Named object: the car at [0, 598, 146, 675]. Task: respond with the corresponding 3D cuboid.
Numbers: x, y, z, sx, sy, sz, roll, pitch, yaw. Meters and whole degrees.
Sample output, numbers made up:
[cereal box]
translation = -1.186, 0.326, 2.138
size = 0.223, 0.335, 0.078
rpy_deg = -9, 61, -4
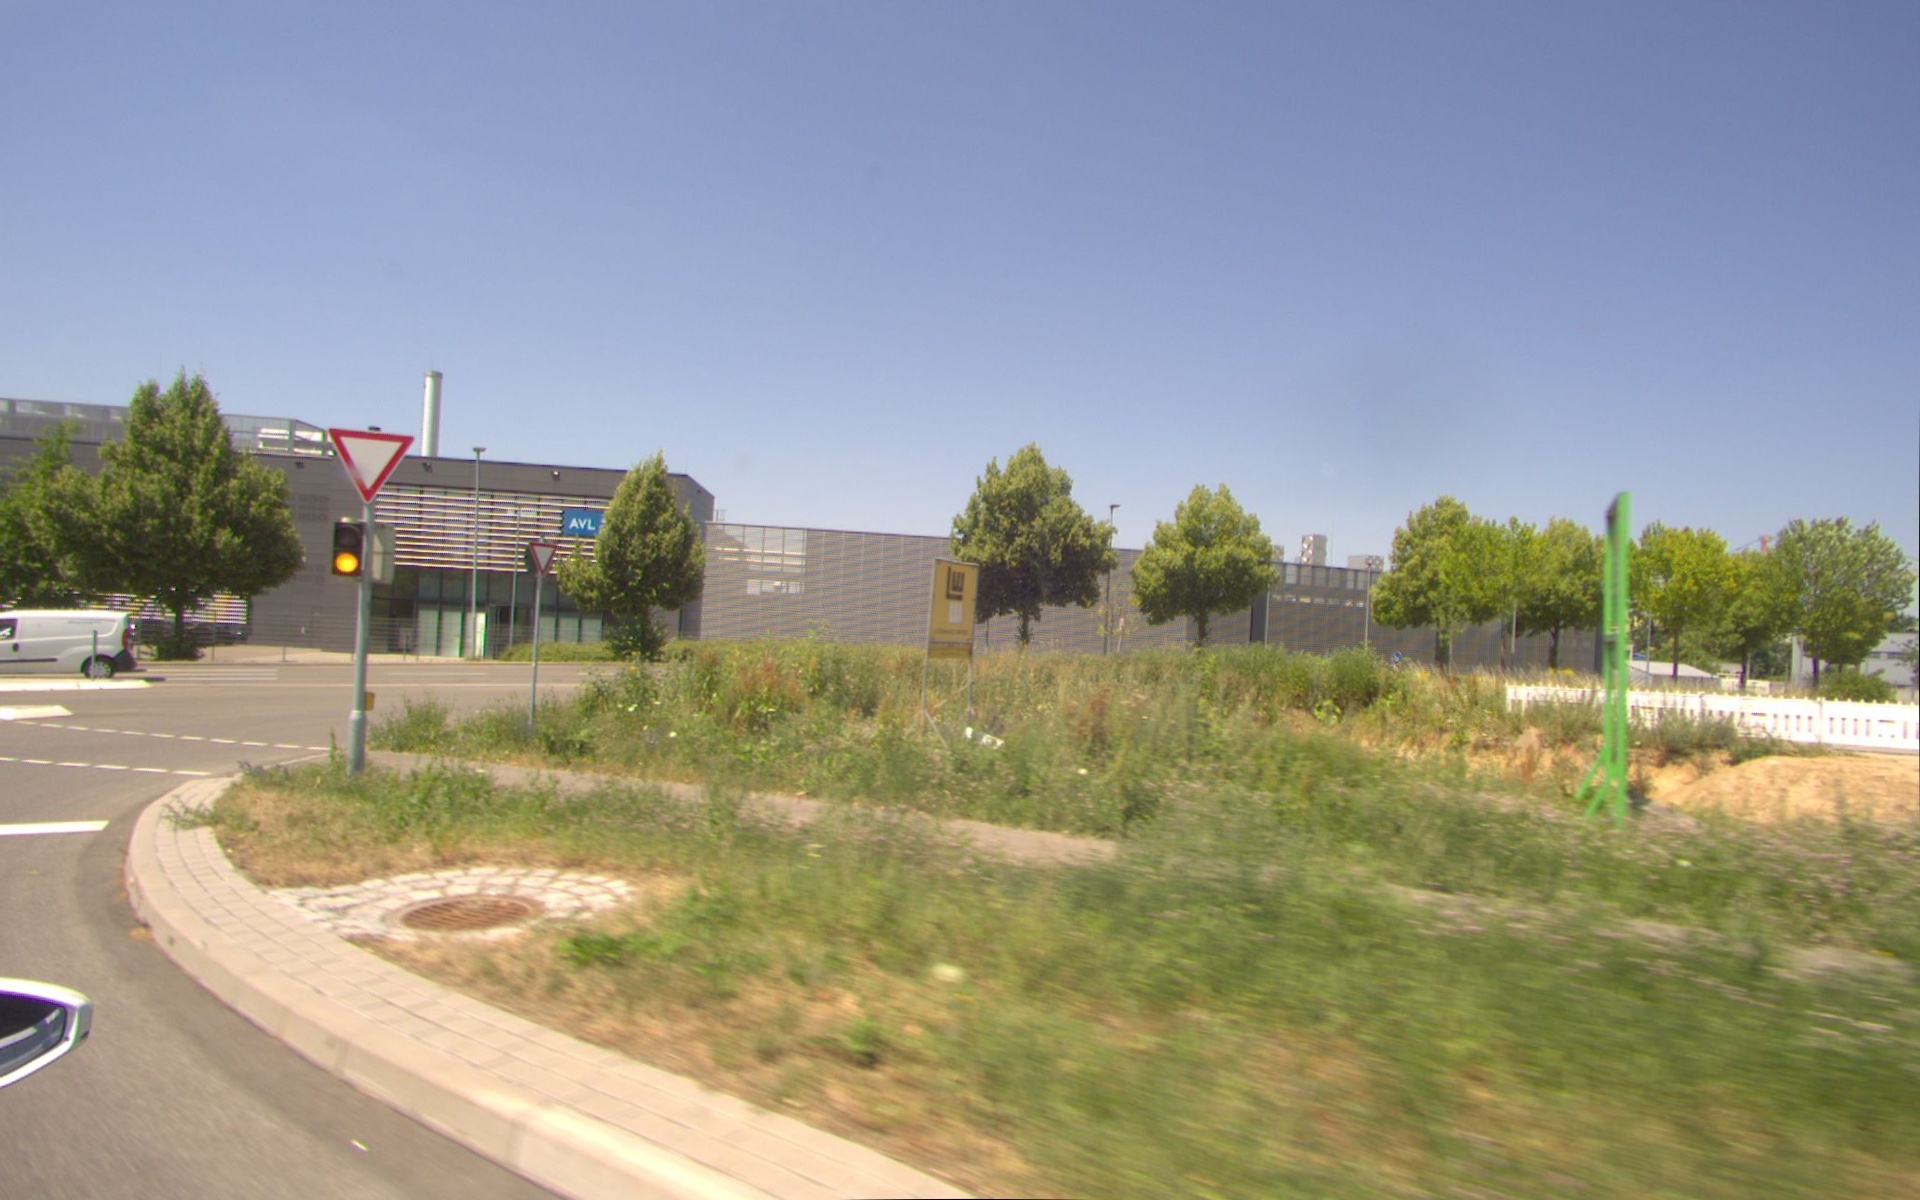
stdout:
[car]
translation = -24.659, 0.962, 26.549
size = 4.708, 1.956, 2.136
rpy_deg = 2, -2, -39
